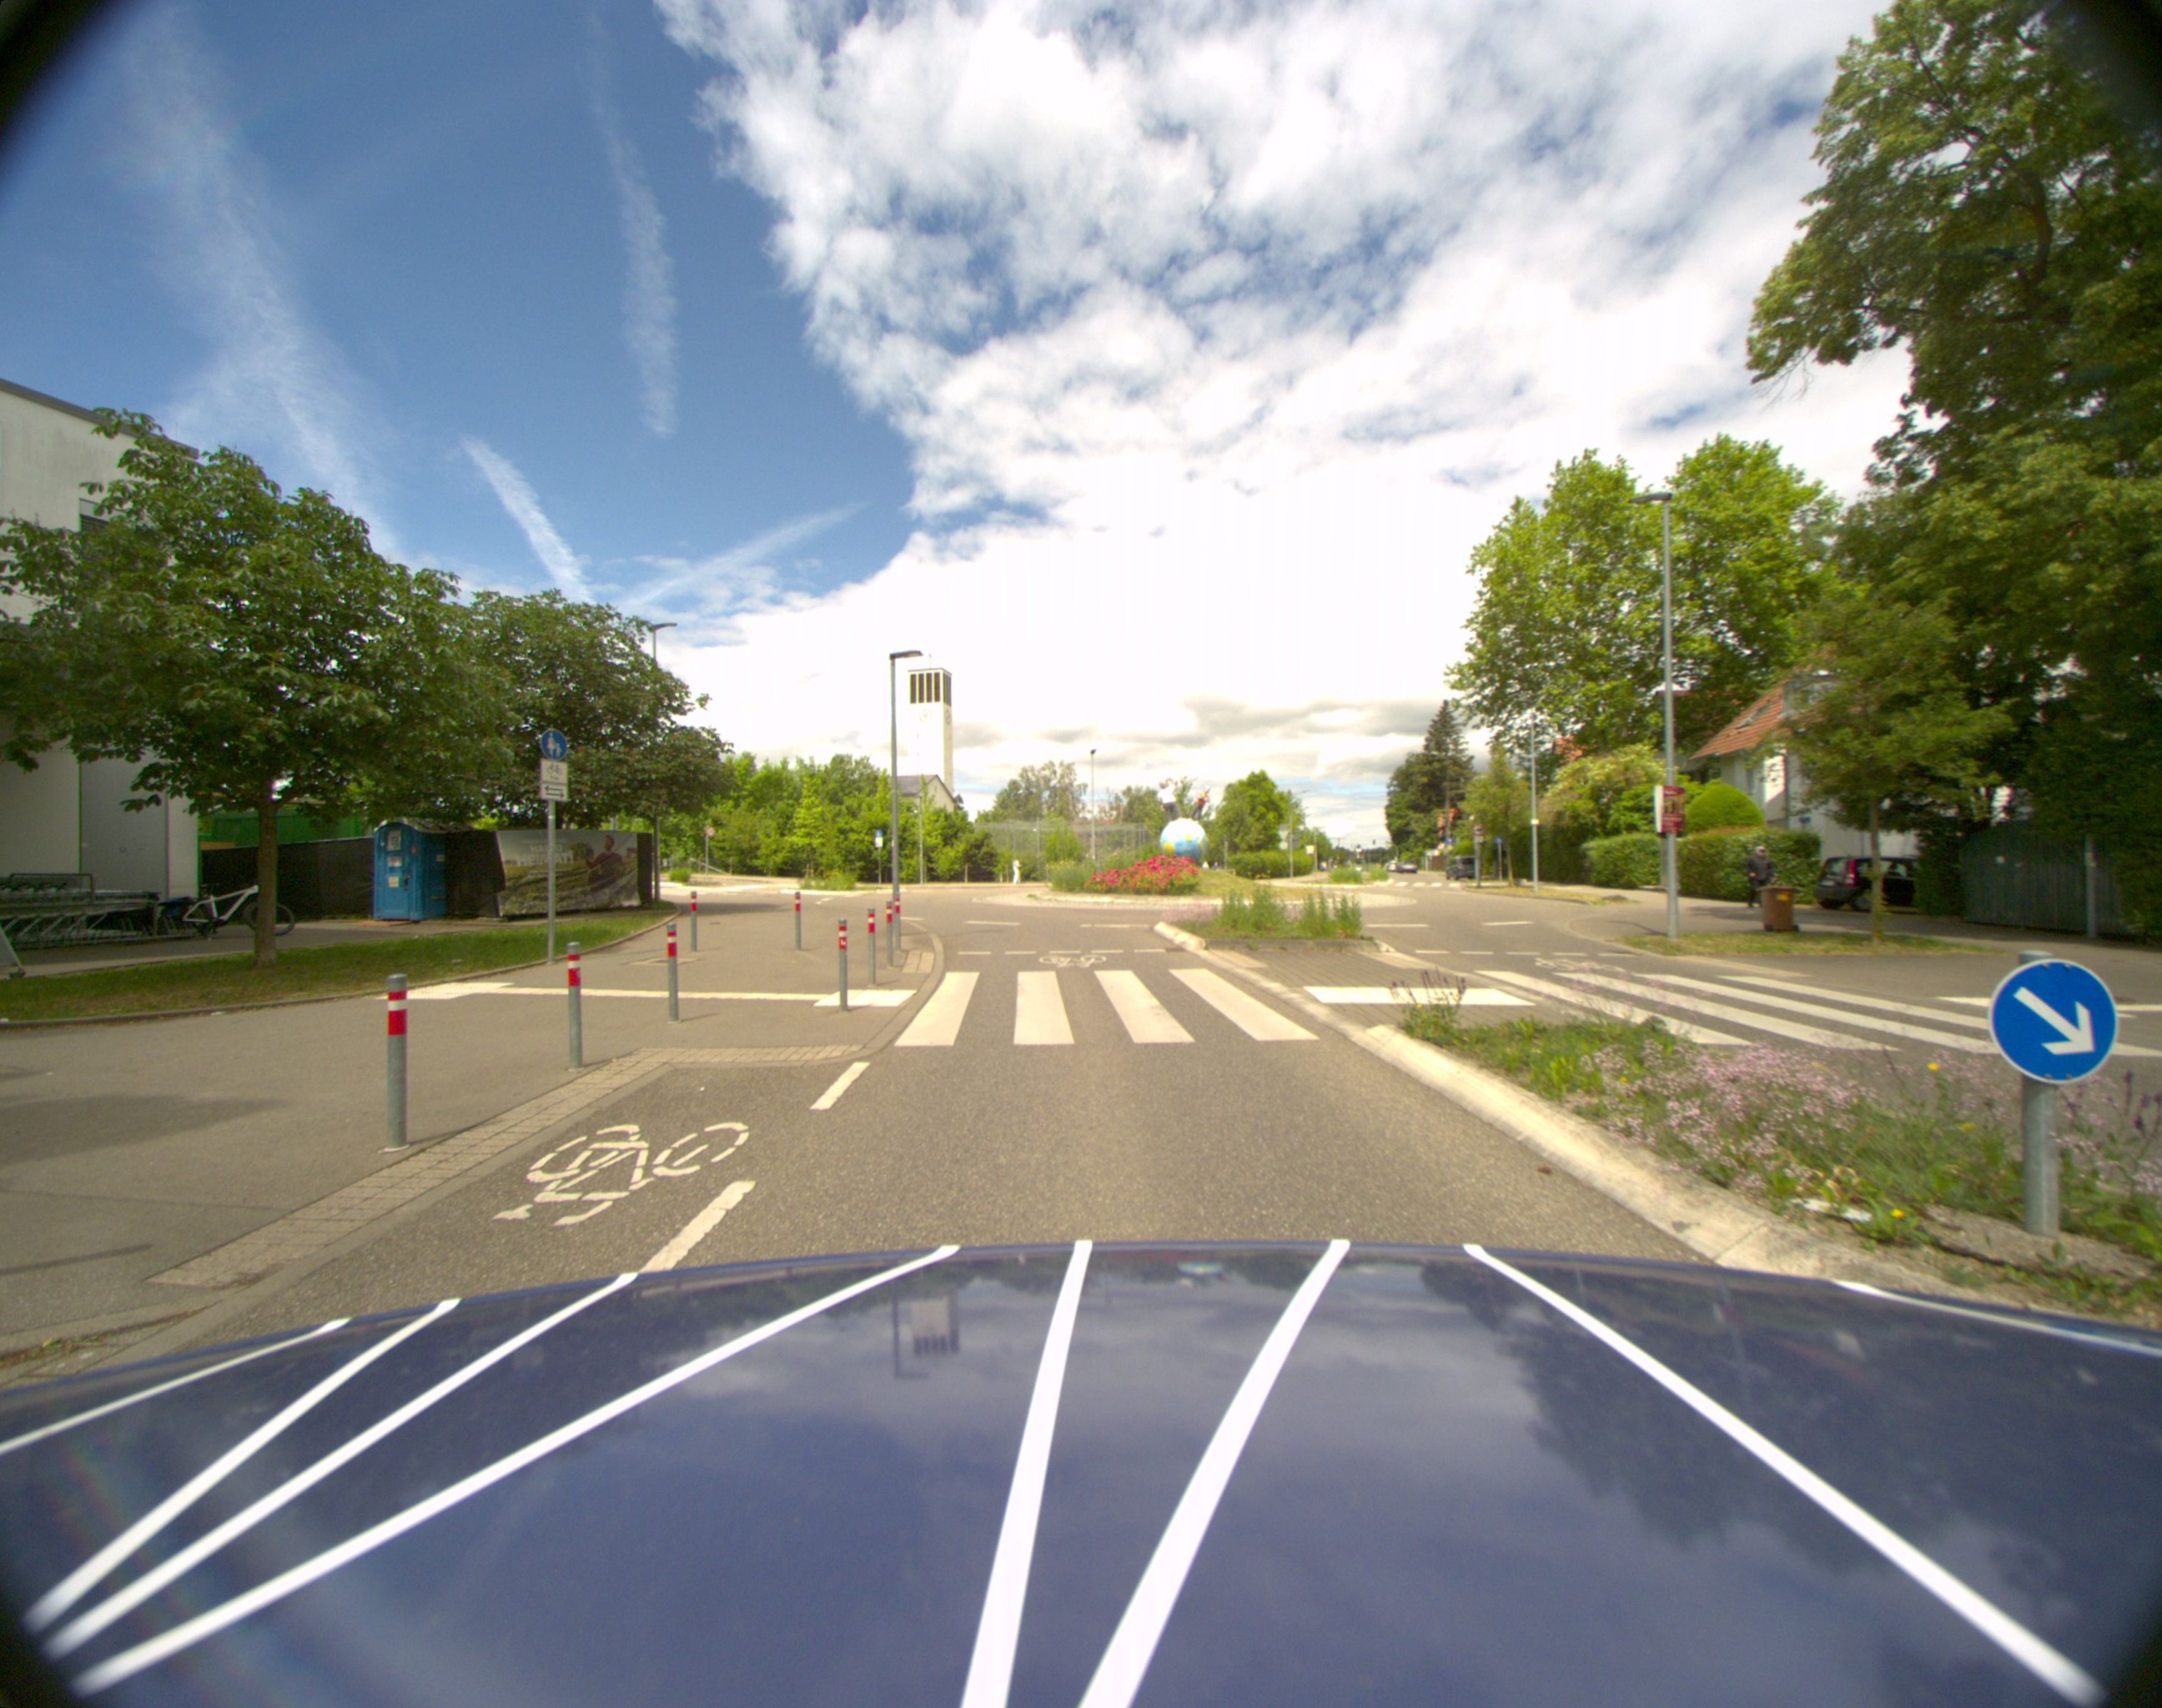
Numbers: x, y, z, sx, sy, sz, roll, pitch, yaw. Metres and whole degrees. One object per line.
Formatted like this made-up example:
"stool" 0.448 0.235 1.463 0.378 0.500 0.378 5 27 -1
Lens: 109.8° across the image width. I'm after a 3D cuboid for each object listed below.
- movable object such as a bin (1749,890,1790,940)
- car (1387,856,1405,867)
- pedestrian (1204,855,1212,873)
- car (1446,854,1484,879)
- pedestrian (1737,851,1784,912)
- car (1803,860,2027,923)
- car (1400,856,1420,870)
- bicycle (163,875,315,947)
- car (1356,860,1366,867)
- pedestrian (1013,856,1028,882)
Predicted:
"movable object such as a bin" 13.479 1.188 14.880 0.441 0.929 0.412 0 1 -9
"car" 50.065 1.245 120.783 1.996 1.696 4.005 0 0 15
"pedestrian" 12.161 0.954 72.811 0.607 1.687 0.567 0 0 2
"car" 27.366 0.859 54.230 1.678 1.652 4.004 0 0 15
"pedestrian" 19.077 0.762 21.345 0.744 1.681 0.695 -1 1 21
"car" 21.755 0.937 20.007 3.570 1.389 1.668 2 1 20
"car" 39.565 1.121 91.439 1.860 1.568 4.006 -2 0 20
"bicycle" -15.747 1.037 14.255 1.773 1.227 0.714 -2 0 -14
"car" 62.821 2.127 170.519 1.995 1.696 4.006 0 0 19
"pedestrian" -3.611 0.867 45.232 0.457 1.524 0.965 -1 0 27
